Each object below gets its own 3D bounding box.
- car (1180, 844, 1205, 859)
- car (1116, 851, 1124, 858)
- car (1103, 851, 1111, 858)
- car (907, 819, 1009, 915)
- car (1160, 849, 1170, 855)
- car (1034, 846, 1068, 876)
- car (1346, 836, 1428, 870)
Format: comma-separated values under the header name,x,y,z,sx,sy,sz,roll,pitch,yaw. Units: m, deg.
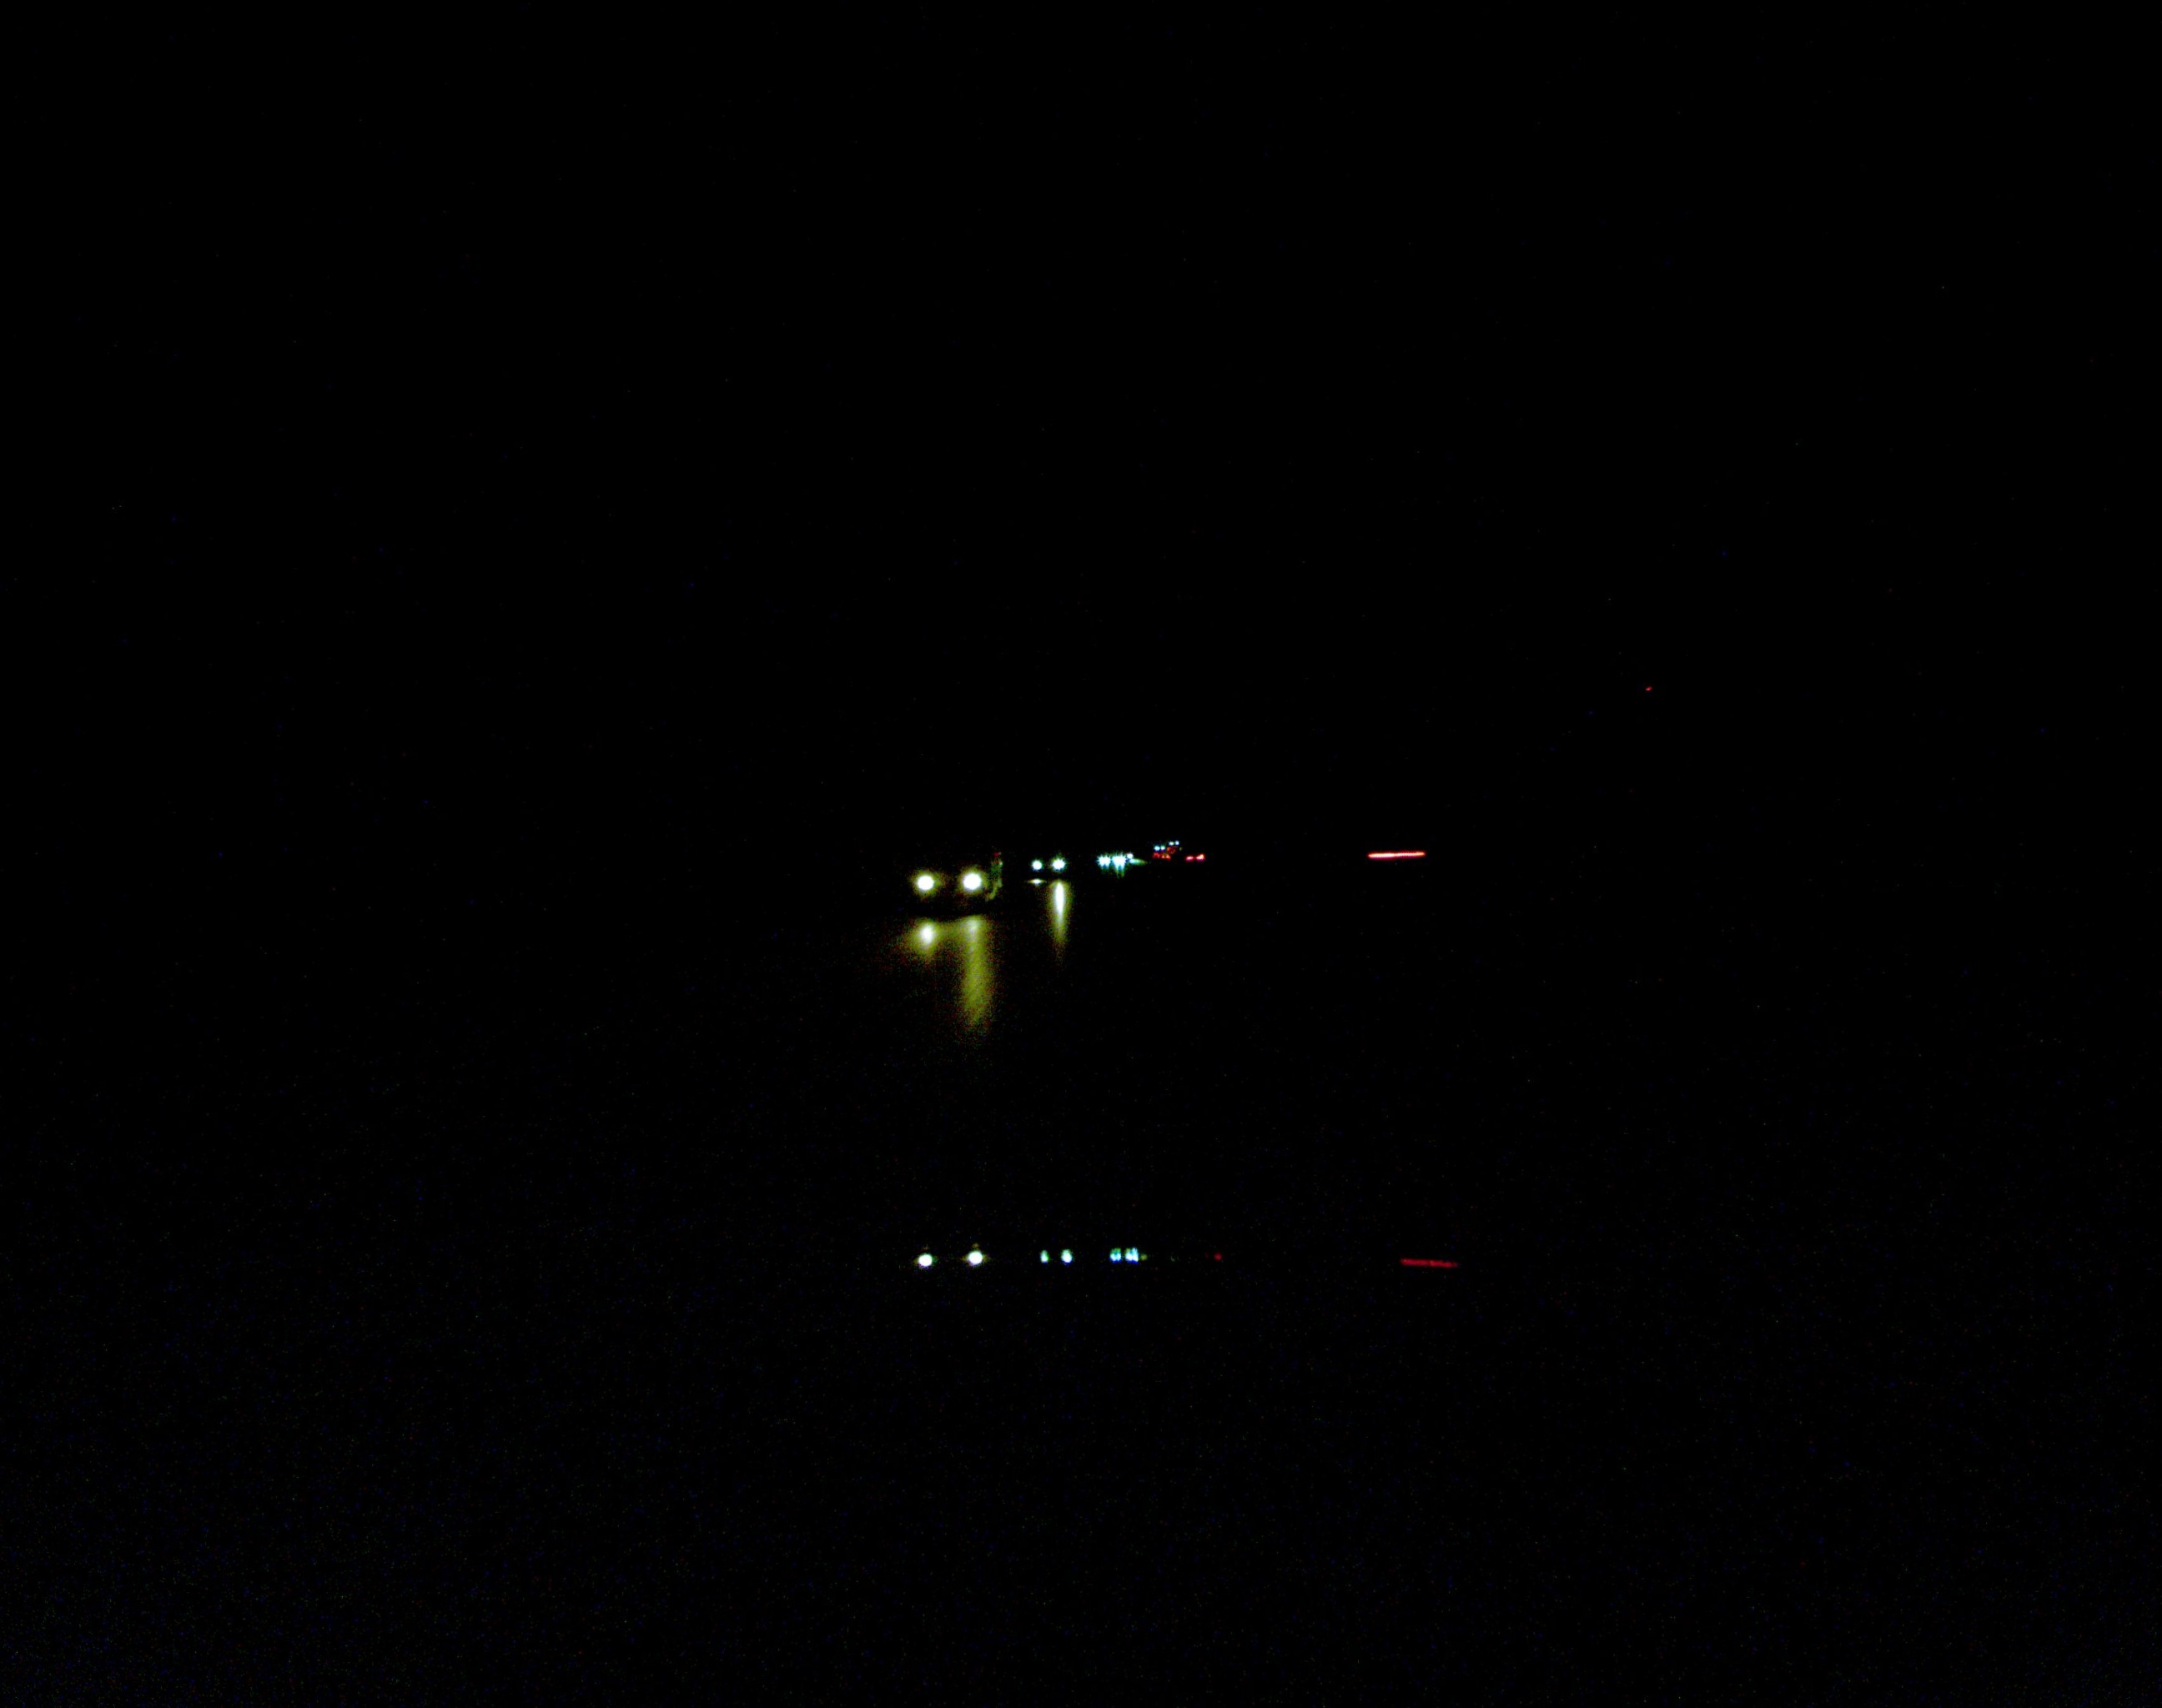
name,x,y,z,sx,sy,sz,roll,pitch,yaw
car,13.117,-0.310,89.446,2.250,1.709,4.887,-2,0,1
car,11.098,0.121,215.862,1.998,1.735,3.999,-2,2,1
car,6.836,0.170,203.281,1.998,1.762,3.999,-2,2,1
car,-3.728,0.360,24.264,2.037,2.631,5.725,-2,0,2
car,22.789,-0.558,206.957,2.250,1.658,4.890,-2,0,1
car,-2.105,0.463,55.366,2.121,1.989,5.664,-2,0,1
car,15.884,-0.040,39.779,2.250,1.588,4.887,-2,0,0
